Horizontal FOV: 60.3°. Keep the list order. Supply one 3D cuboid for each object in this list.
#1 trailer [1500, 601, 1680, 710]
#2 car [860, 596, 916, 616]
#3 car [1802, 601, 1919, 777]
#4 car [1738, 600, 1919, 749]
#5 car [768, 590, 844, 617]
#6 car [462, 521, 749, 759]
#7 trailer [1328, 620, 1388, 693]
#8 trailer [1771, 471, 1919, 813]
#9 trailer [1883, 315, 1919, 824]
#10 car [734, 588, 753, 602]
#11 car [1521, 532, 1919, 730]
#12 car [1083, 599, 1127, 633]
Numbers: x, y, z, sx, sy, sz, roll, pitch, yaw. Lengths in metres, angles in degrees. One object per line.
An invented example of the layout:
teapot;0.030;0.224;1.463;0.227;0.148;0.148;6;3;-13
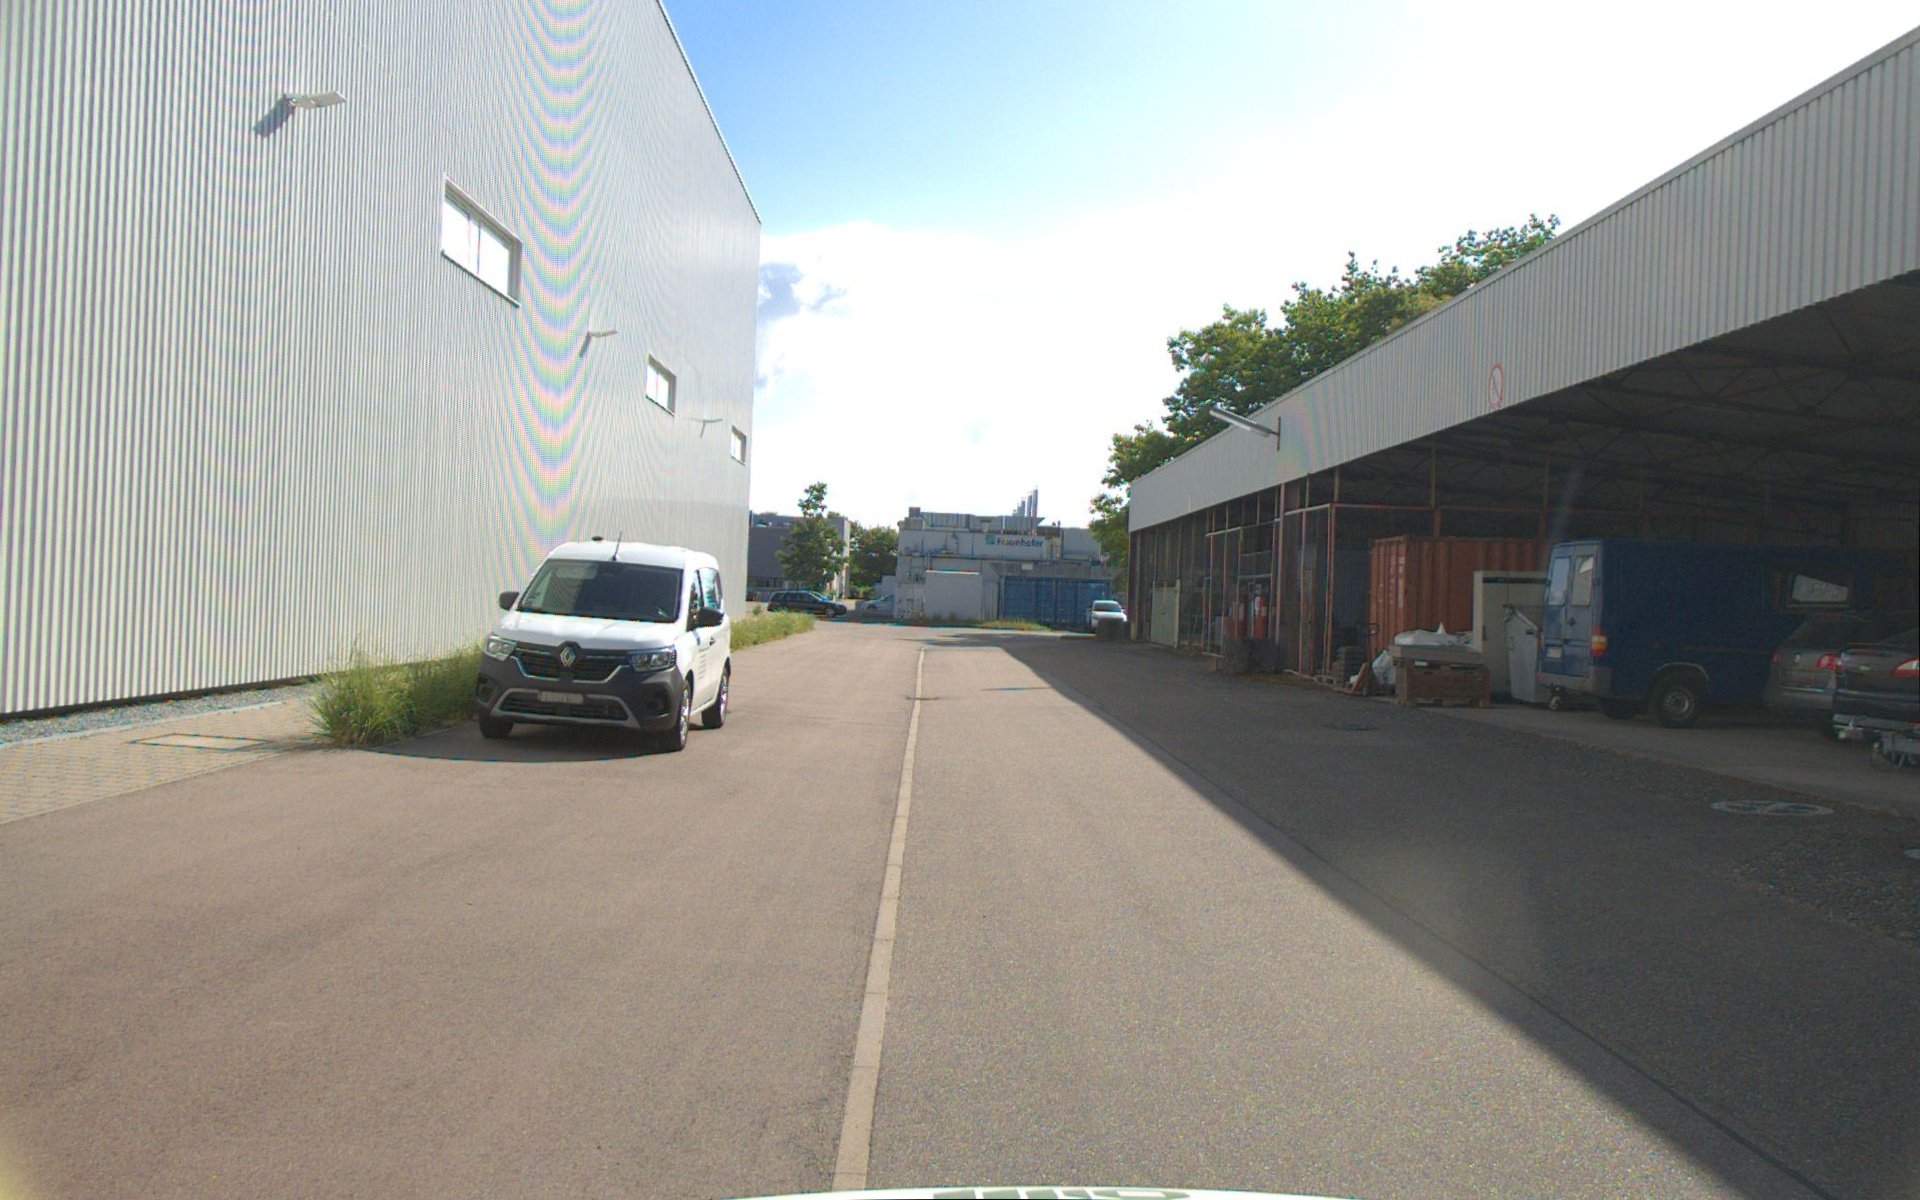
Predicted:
trailer;9.092;0.776;23.992;1.996;1.492;1.739;1;0;3
car;-5.475;0.461;125.697;4.216;1.483;1.823;1;-1;-2
car;10.268;0.819;15.166;4.164;1.497;1.868;2;0;-4
car;10.965;0.823;18.267;3.886;1.540;1.838;2;-1;-4
car;-9.089;0.214;97.719;4.358;1.558;1.823;1;-1;-2
car;-3.201;0.348;15.897;1.747;1.847;4.600;3;-1;-1
trailer;6.495;0.905;27.042;0.541;1.138;1.546;1;-1;-3
trailer;8.877;0.323;12.580;4.424;2.383;2.047;1;-1;0
trailer;11.451;-0.147;10.143;10.059;3.401;2.801;1;0;-1
car;-25.230;-0.591;192.696;1.821;1.521;4.027;1;0;-3
car;10.249;0.402;21.407;5.225;2.321;2.152;2;-1;-2
car;7.470;0.800;85.637;1.939;1.630;4.378;1;1;0
